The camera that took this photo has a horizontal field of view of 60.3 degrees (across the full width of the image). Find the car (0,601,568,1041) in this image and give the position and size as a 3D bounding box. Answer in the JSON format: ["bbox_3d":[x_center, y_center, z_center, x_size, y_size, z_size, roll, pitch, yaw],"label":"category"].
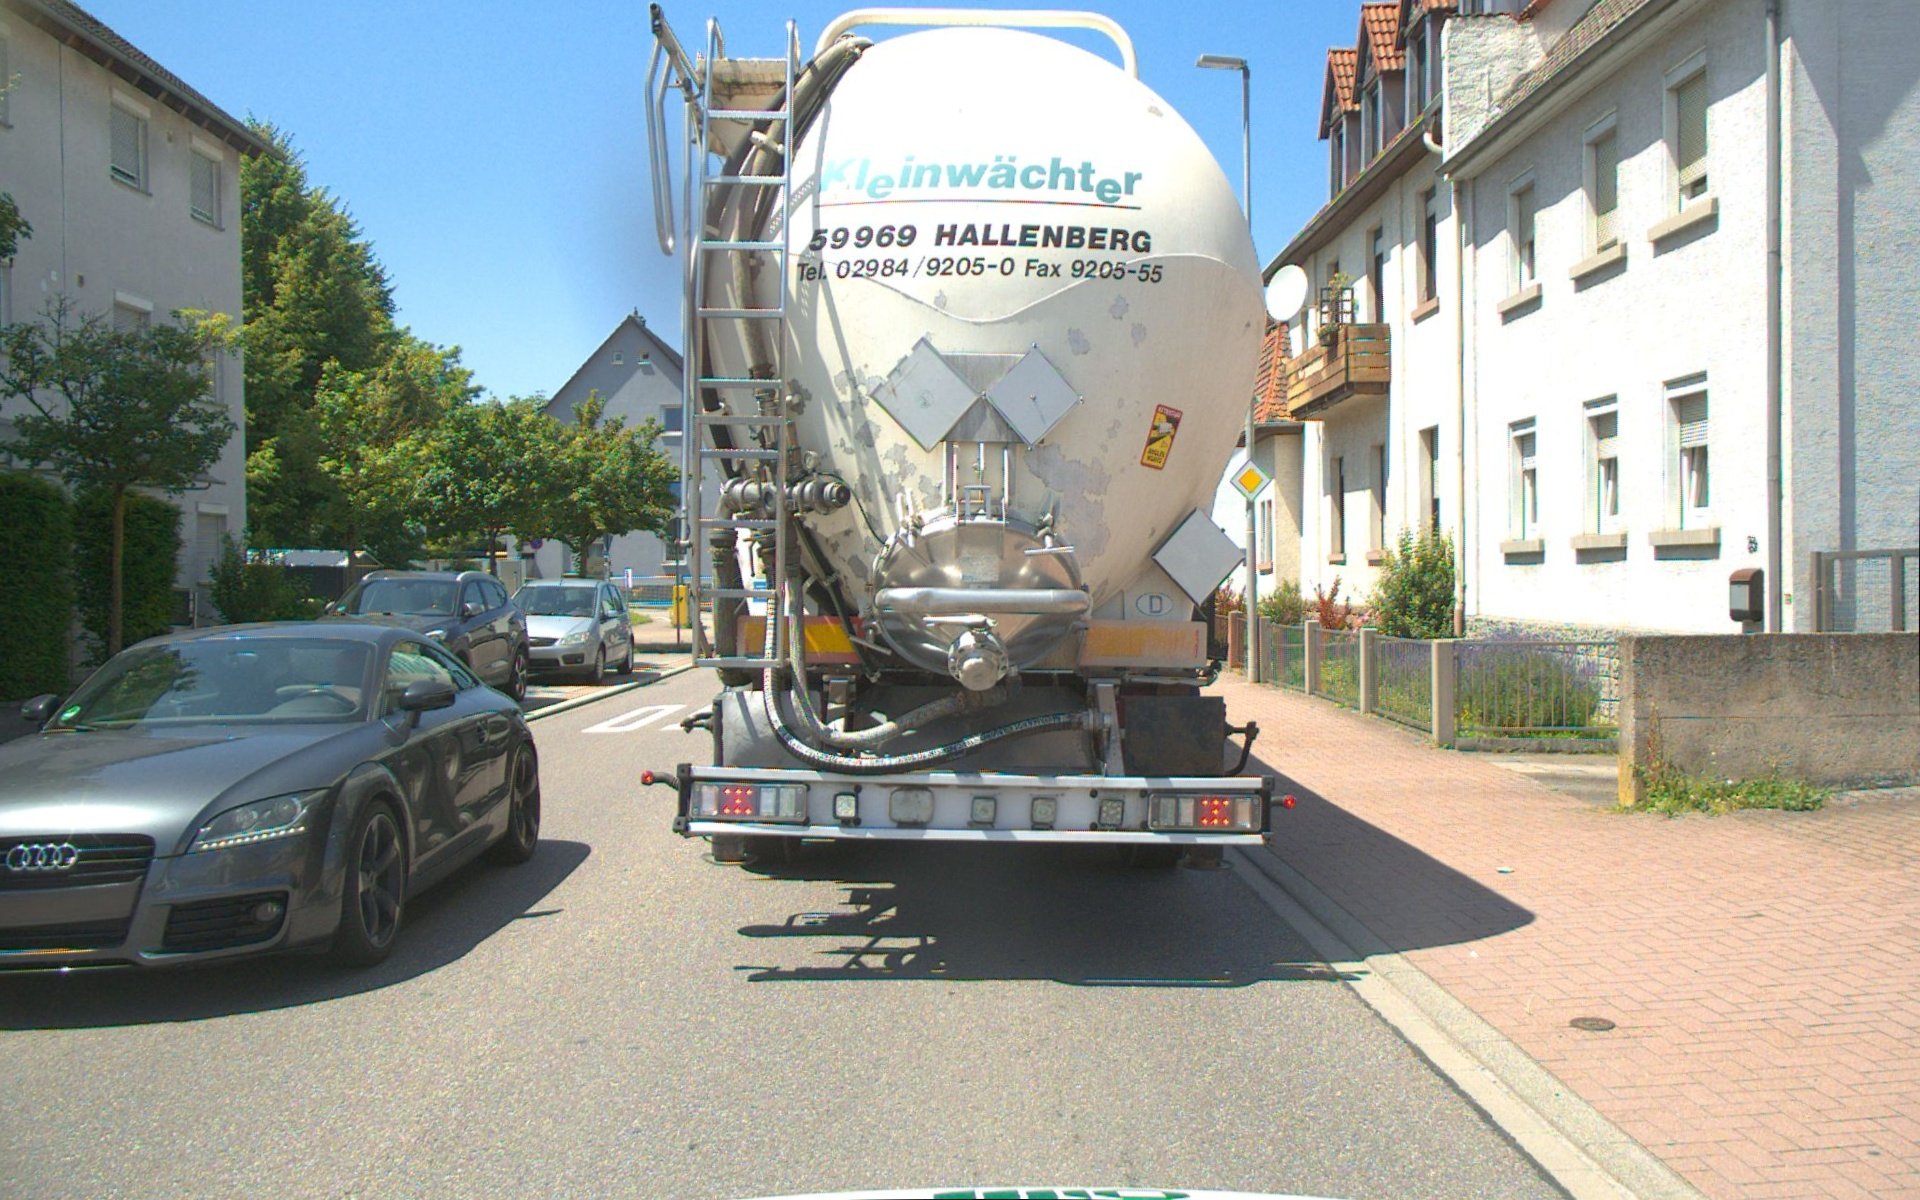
[{"bbox_3d":[-3.091,0.766,7.538,1.671,1.394,3.868,-3,1,-1],"label":"car"}]

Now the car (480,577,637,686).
[{"bbox_3d":[-6.348,0.450,26.543,1.663,1.608,3.837,0,1,-1],"label":"car"}]

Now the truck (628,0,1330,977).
[{"bbox_3d":[0.029,-0.693,10.917,2.587,4.086,9.560,0,1,-1],"label":"truck"}]

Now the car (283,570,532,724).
[{"bbox_3d":[-6.478,0.486,19.846,1.657,1.648,3.997,0,1,0],"label":"car"}]
